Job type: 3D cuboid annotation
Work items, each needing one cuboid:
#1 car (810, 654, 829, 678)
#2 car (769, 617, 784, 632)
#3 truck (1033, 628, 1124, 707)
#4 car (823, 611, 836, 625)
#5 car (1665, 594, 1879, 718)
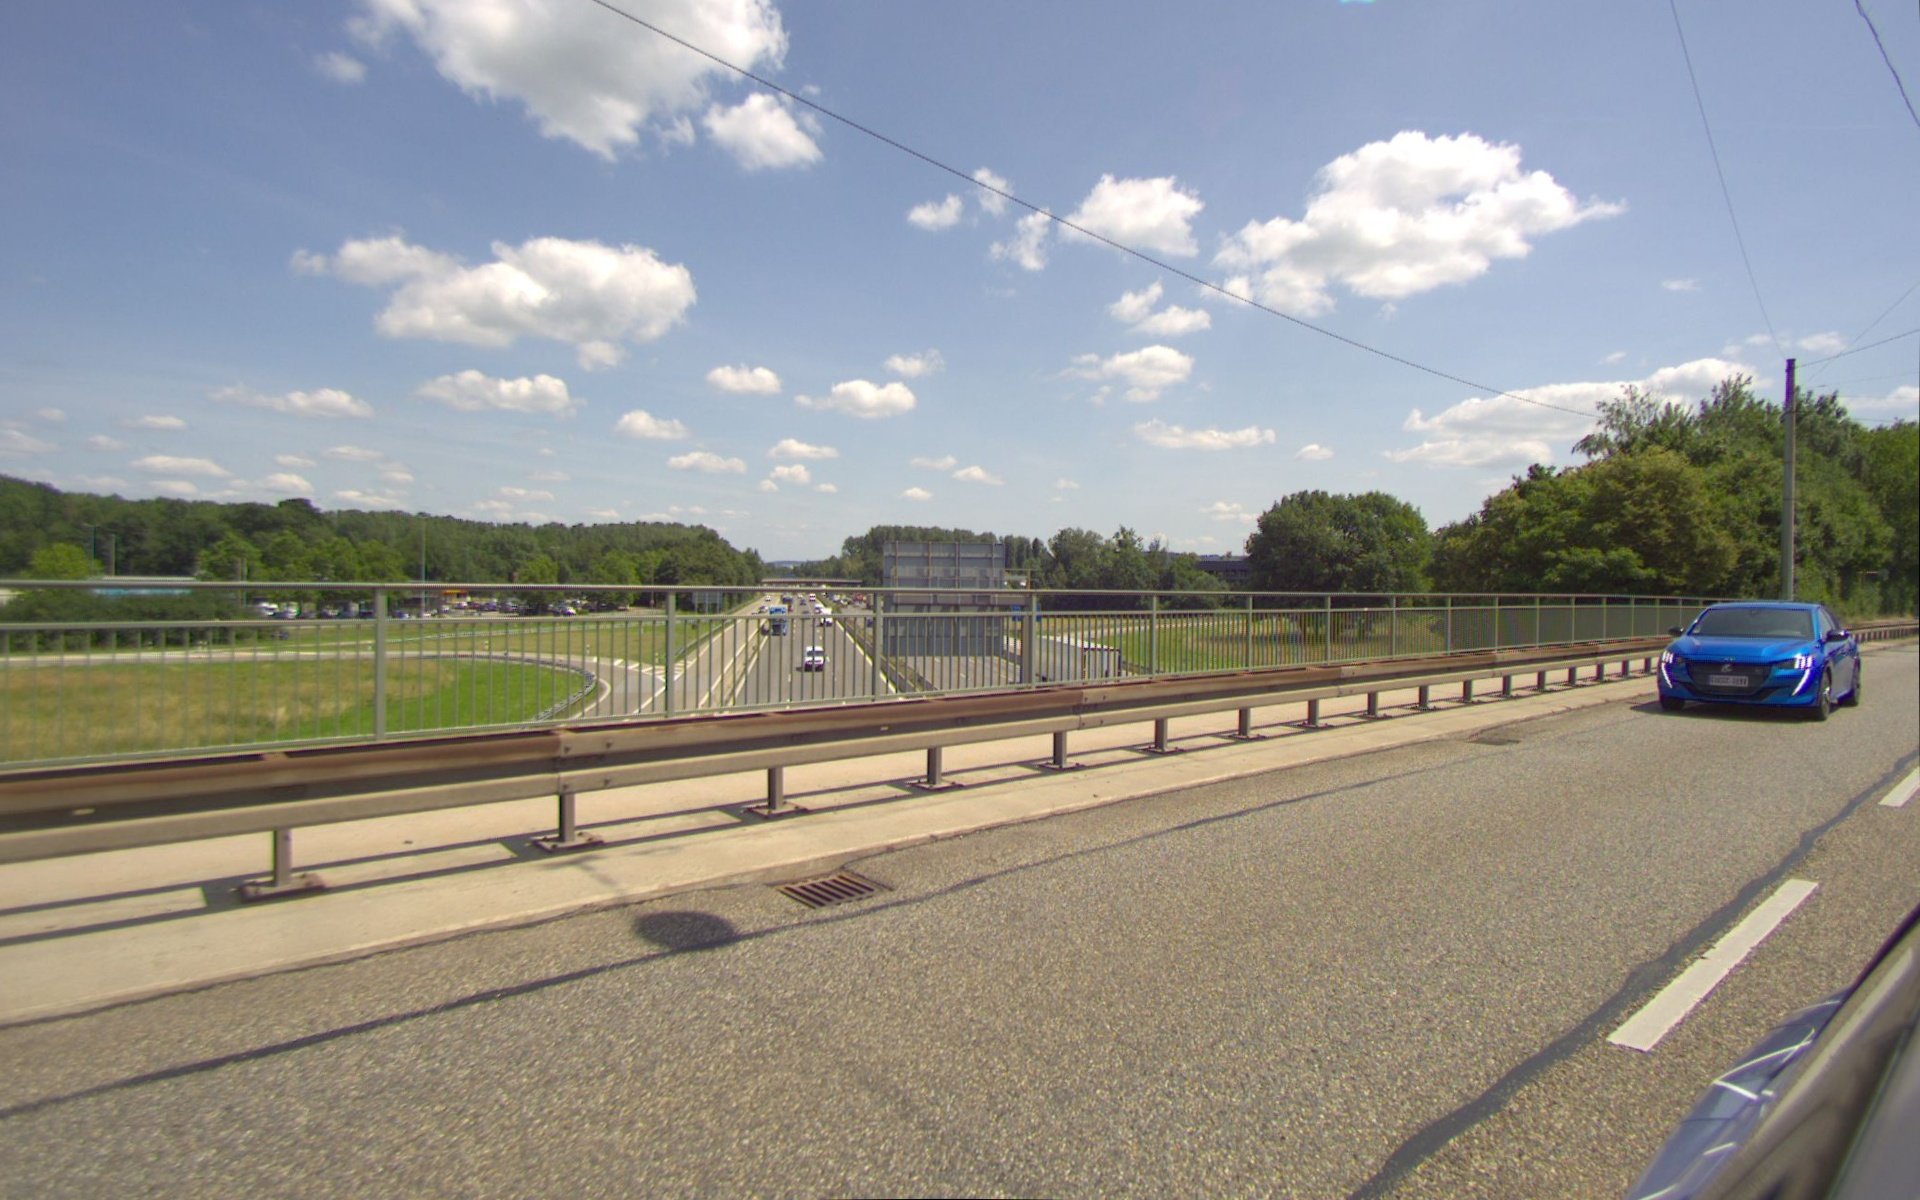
[{"bbox_3d":[-12.594,5.899,90.774,1.597,1.951,4.003,-2,-3,-9],"label":"car"},{"bbox_3d":[-26.449,3.591,145.756,1.921,1.951,4.004,-2,-3,-9],"label":"car"},{"bbox_3d":[8.331,4.606,73.739,2.774,4.271,14.813,-2,2,-8],"label":"truck"},{"bbox_3d":[-21.966,3.075,170.433,1.921,2.184,4.004,-2,-3,-9],"label":"car"},{"bbox_3d":[10.984,0.640,13.614,3.679,1.423,1.658,-1,0,-42],"label":"car"}]
